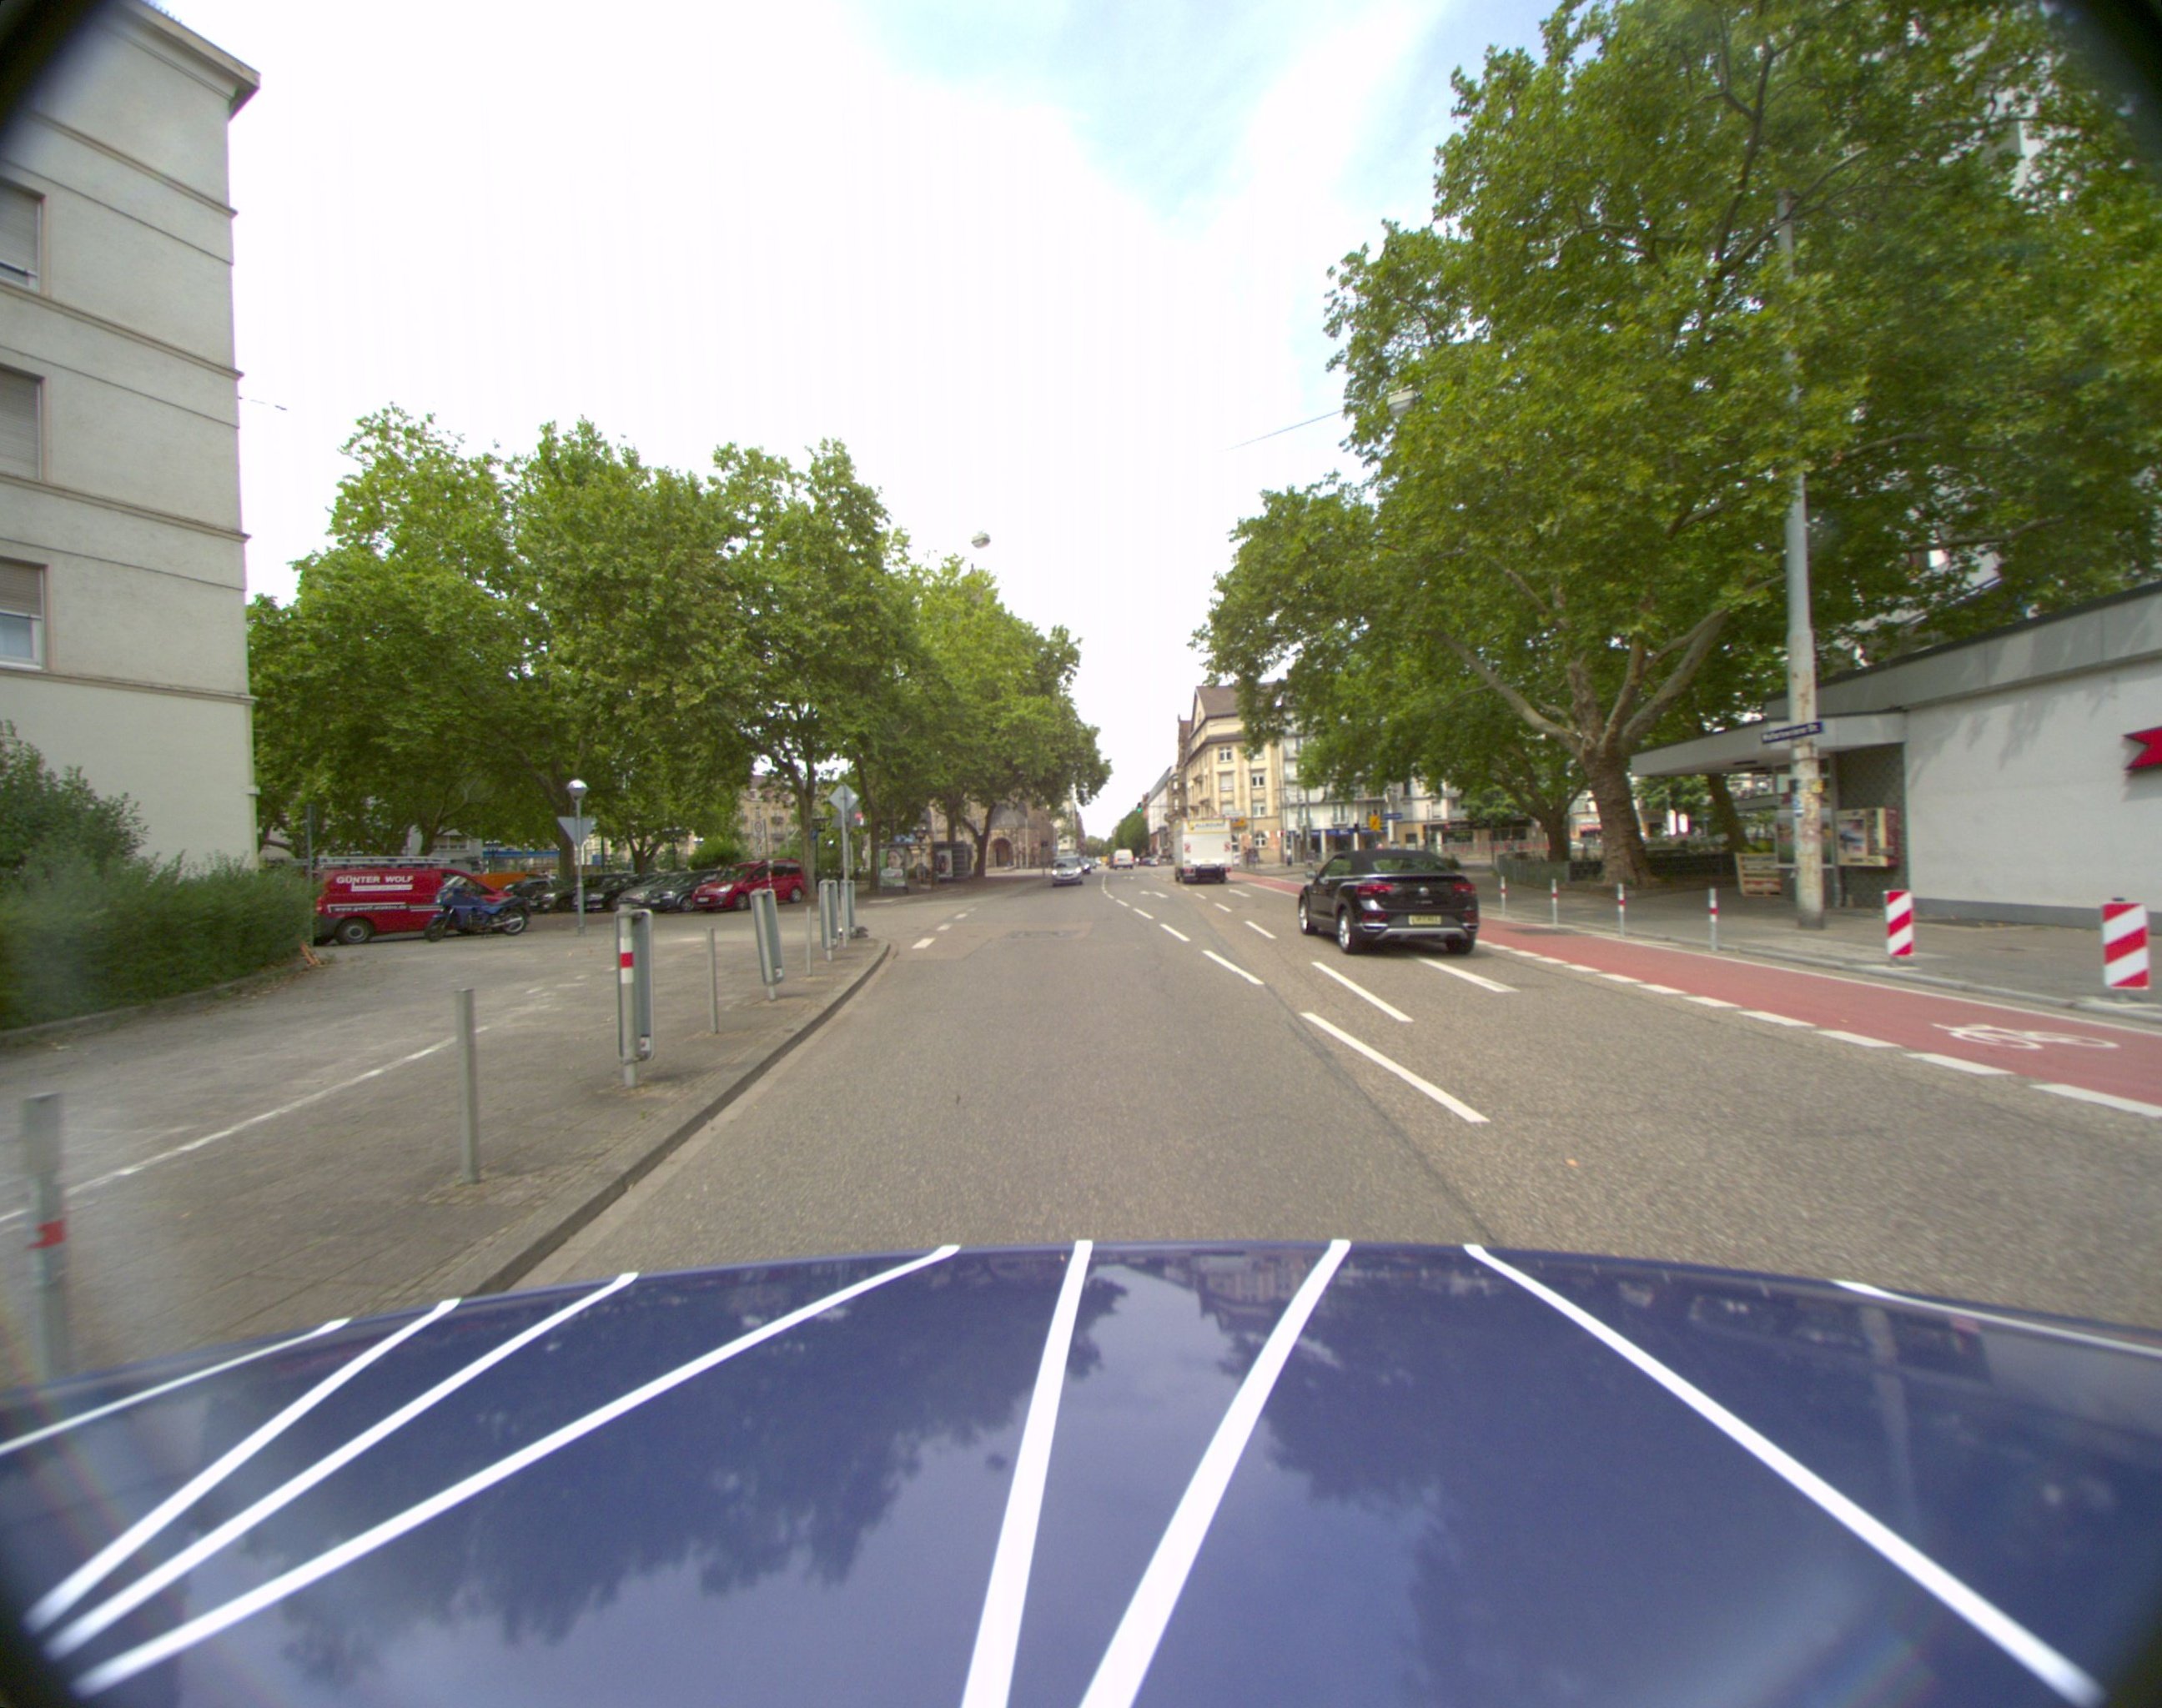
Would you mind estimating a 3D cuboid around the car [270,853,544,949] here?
[{"bbox_3d":[-17.172,1.090,19.724,1.995,2.137,4.852,-2,0,24],"label":"car"}]

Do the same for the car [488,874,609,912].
[{"bbox_3d":[-23.954,1.728,34.341,1.995,1.455,4.006,-2,0,22],"label":"car"}]

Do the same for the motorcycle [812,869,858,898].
[{"bbox_3d":[-11.004,1.300,33.983,1.859,1.215,0.531,-2,0,-1],"label":"motorcycle"}]

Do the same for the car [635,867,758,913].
[{"bbox_3d":[-14.779,1.345,29.451,1.829,1.543,4.006,-2,0,22],"label":"car"}]

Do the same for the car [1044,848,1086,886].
[{"bbox_3d":[-0.895,0.721,44.919,2.082,2.039,4.681,-2,0,3],"label":"car"}]

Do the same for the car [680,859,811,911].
[{"bbox_3d":[-12.431,1.102,28.485,1.934,1.696,4.337,-2,0,21],"label":"car"}]

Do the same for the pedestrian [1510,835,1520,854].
[{"bbox_3d":[36.209,-0.823,63.405,0.597,1.543,0.671,-2,1,22],"label":"pedestrian"}]

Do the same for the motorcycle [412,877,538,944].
[{"bbox_3d":[-14.356,1.306,18.112,0.833,1.453,2.308,-2,-1,13],"label":"motorcycle"}]

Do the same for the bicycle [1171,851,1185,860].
[{"bbox_3d":[13.611,0.211,106.631,1.830,1.185,0.397,-4,-1,1],"label":"bicycle"}]

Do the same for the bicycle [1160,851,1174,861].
[{"bbox_3d":[12.094,0.282,107.076,1.821,1.185,0.397,-5,0,-2],"label":"bicycle"}]

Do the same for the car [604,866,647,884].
[{"bbox_3d":[-52.553,2.387,87.598,4.371,1.866,2.003,-2,0,23],"label":"car"}]

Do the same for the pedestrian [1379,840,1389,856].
[{"bbox_3d":[30.413,-0.605,76.240,0.837,1.543,0.869,-2,1,25],"label":"pedestrian"}]

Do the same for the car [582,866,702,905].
[{"bbox_3d":[-18.684,1.316,32.553,1.995,1.455,4.006,-2,0,22],"label":"car"}]

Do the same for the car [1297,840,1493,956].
[{"bbox_3d":[4.675,0.580,11.967,1.701,1.509,4.001,-1,0,5],"label":"car"}]

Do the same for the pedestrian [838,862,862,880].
[{"bbox_3d":[-16.564,1.232,54.438,1.096,1.206,1.142,-1,1,26],"label":"pedestrian"}]

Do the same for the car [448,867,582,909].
[{"bbox_3d":[-26.166,1.541,35.310,1.995,1.685,4.566,-2,0,22],"label":"car"}]

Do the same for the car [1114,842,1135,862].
[{"bbox_3d":[4.444,-0.202,78.362,1.928,1.925,4.948,-3,0,1],"label":"car"}]

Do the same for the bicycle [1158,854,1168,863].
[{"bbox_3d":[11.836,0.683,109.310,1.345,1.185,0.397,-5,0,0],"label":"bicycle"}]

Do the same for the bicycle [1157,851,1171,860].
[{"bbox_3d":[11.656,0.224,106.217,1.872,1.185,0.456,-3,0,21],"label":"bicycle"}]

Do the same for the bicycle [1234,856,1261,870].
[{"bbox_3d":[13.145,0.673,59.908,1.966,1.088,0.628,0,1,23],"label":"bicycle"}]

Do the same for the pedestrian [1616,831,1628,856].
[{"bbox_3d":[36.059,-0.700,50.626,0.505,1.614,0.697,-2,0,23],"label":"pedestrian"}]

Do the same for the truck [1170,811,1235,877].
[{"bbox_3d":[6.071,-0.482,38.949,2.547,3.089,7.021,0,0,3],"label":"truck"}]

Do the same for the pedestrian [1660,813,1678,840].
[{"bbox_3d":[45.765,-2.153,59.184,0.871,2.002,0.854,-2,0,24],"label":"pedestrian"}]

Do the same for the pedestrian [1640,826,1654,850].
[{"bbox_3d":[49.666,-1.396,66.675,0.756,2.002,0.762,-2,0,26],"label":"pedestrian"}]

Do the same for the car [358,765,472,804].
[{"bbox_3d":[-35.032,-3.627,40.102,1.995,1.630,4.006,-2,0,23],"label":"car"}]

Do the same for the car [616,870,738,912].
[{"bbox_3d":[-16.594,1.495,31.412,1.747,1.455,4.191,-2,0,25],"label":"car"}]

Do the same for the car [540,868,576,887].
[{"bbox_3d":[-55.579,2.496,80.739,3.989,1.805,2.004,-2,-1,38],"label":"car"}]

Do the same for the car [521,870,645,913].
[{"bbox_3d":[-21.419,1.568,32.837,1.995,1.589,4.006,-2,0,22],"label":"car"}]

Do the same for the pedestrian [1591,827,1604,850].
[{"bbox_3d":[46.320,-1.389,68.144,0.756,2.002,0.762,-2,0,26],"label":"pedestrian"}]

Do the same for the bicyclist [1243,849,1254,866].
[{"bbox_3d":[13.195,0.272,59.904,0.751,1.334,0.493,-2,0,23],"label":"bicyclist"}]
